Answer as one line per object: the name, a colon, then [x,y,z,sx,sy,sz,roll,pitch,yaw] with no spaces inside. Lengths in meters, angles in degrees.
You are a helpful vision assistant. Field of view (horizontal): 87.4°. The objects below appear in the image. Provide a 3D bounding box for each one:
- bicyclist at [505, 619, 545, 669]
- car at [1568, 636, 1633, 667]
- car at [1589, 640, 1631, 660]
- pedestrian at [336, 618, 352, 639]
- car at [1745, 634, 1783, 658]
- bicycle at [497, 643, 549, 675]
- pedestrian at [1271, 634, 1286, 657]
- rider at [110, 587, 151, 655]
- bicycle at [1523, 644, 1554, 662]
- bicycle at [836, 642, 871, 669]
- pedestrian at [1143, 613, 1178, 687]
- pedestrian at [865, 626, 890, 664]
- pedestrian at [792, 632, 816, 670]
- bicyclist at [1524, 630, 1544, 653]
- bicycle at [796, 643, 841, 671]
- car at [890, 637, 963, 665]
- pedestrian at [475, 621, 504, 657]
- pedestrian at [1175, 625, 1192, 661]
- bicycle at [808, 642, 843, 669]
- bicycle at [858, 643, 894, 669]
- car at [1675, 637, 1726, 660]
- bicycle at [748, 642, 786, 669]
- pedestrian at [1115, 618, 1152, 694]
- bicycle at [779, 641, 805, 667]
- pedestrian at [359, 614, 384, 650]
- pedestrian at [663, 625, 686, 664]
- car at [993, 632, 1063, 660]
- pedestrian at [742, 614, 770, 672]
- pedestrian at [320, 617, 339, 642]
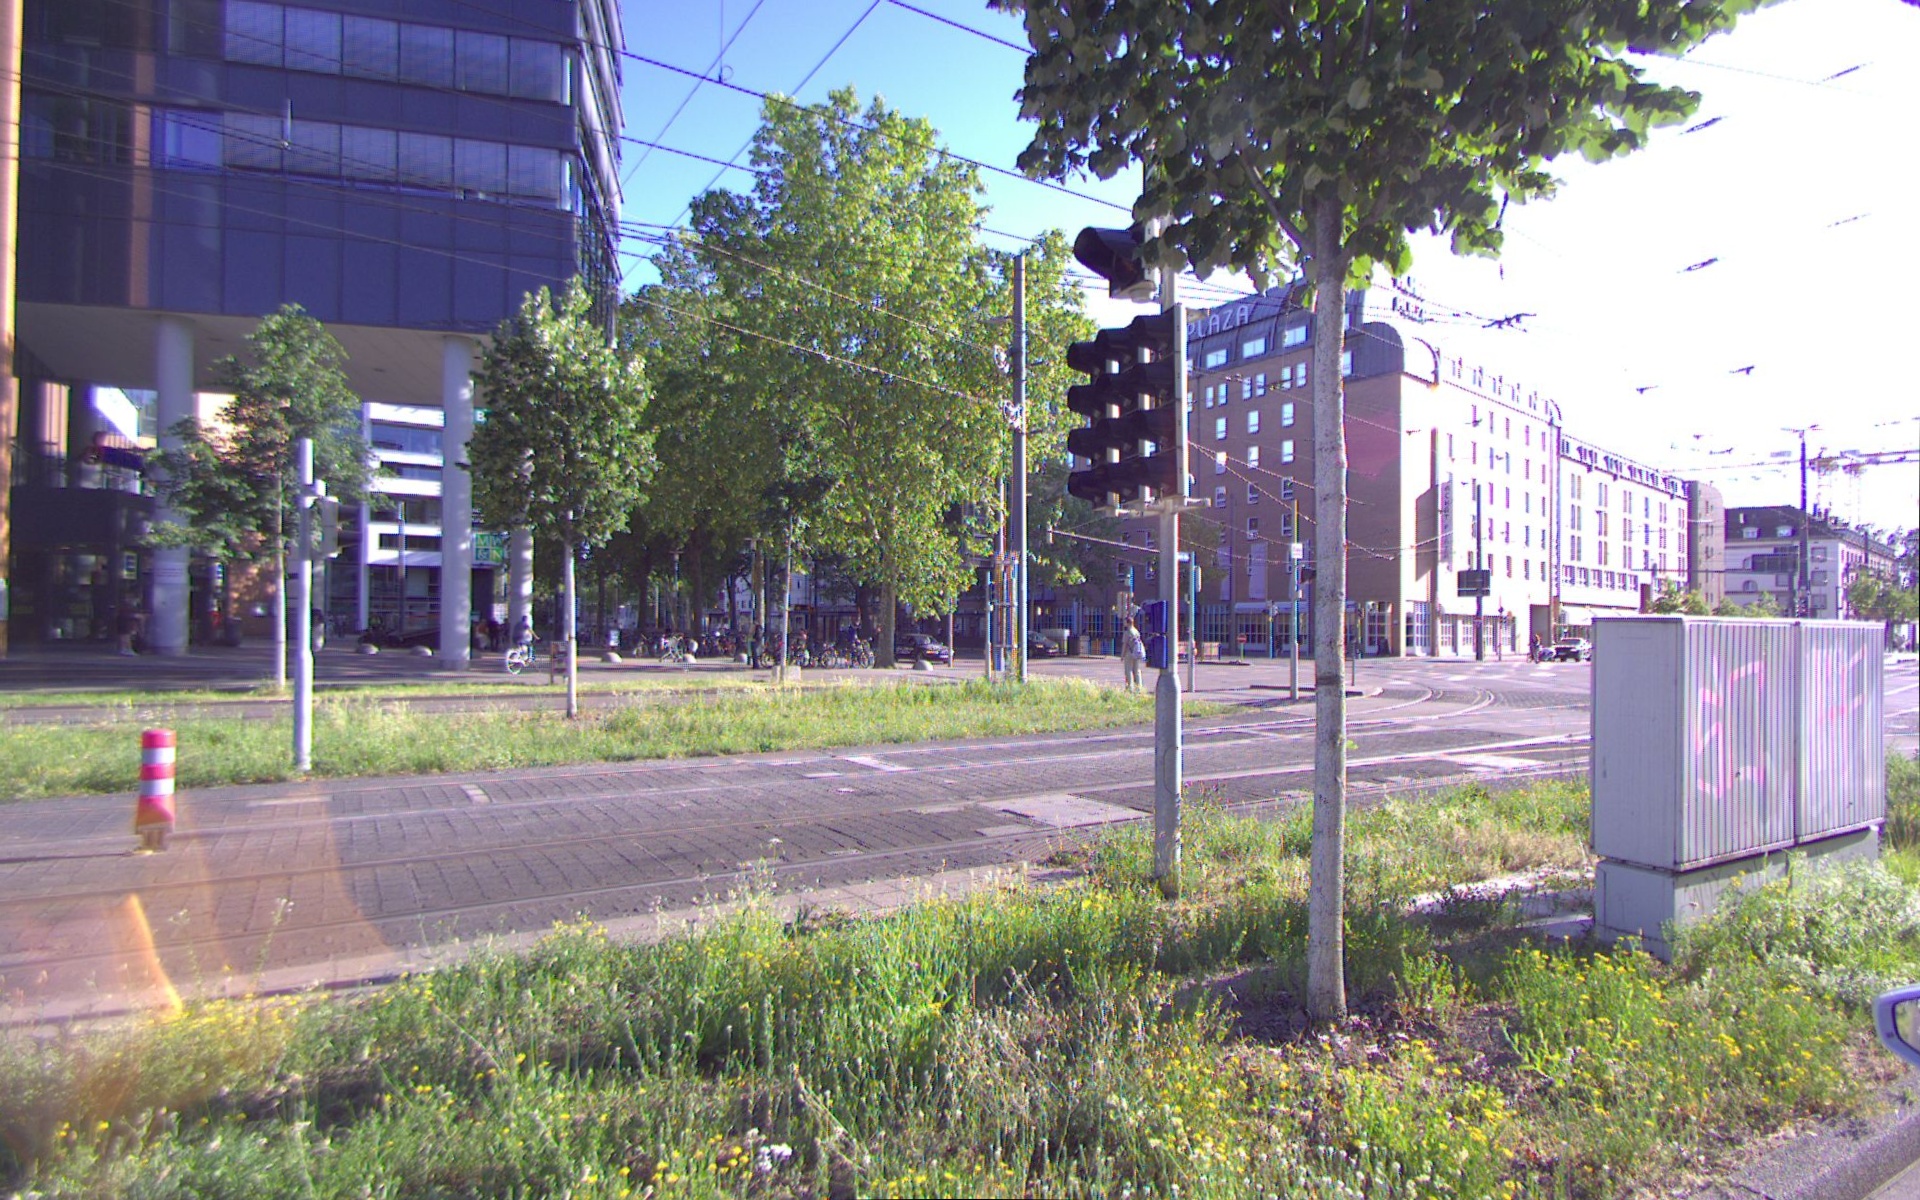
bicyclist: [-13.179,1.330,30.450,0.666,1.484,1.017,0,-1,8]
car: [35.660,2.836,55.900,4.705,1.617,1.975,2,-2,-43]
car: [50.865,3.891,78.592,3.972,1.530,1.867,2,-2,-43]
pedestrian: [-38.555,1.787,62.903,0.651,1.294,0.636,1,0,-13]
car: [53.709,3.039,67.040,1.726,1.524,3.859,-1,-2,43]
bicycle: [-13.166,1.764,30.324,0.489,0.922,1.890,1,-2,8]
pedestrian: [21.017,2.997,66.351,0.652,1.523,0.672,1,-1,-33]
rider: [-22.734,0.576,27.554,0.704,1.826,0.715,1,-1,-29]
bicycle: [35.619,3.252,61.863,2.901,1.099,0.645,2,-2,-38]
bicycle: [-4.097,2.124,38.611,0.536,0.964,1.753,1,-2,-36]
pedestrian: [5.069,1.259,25.412,0.656,1.841,0.559,1,-1,-36]
pedestrian: [-3.596,1.981,43.886,0.832,1.619,0.692,1,0,-34]
pedestrian: [-6.859,2.235,44.193,0.826,1.619,0.730,1,0,-25]
bicyclist: [35.169,2.517,61.528,0.942,1.393,0.752,1,-1,-37]
bicycle: [-5.242,2.103,37.194,1.742,0.964,0.540,0,-1,34]
car: [-1.685,2.486,49.581,1.977,1.283,3.968,1,-2,-30]
pedestrian: [-23.070,1.890,49.242,1.091,1.730,0.789,1,0,-13]
pedestrian: [12.900,2.475,58.041,0.670,2.040,0.663,1,-1,-29]
bicycle: [-5.164,2.113,38.538,0.536,0.964,1.753,1,-2,-36]
bicycle: [-3.261,2.146,38.739,0.536,0.964,1.753,1,-2,-36]
car: [49.536,3.228,67.149,3.960,1.468,1.563,2,-2,-35]
bicycle: [-7.272,2.083,37.786,0.538,0.964,1.748,2,-2,-44]
pedestrian: [4.285,1.368,24.847,0.656,1.854,0.627,1,-1,-36]
bicycle: [-6.454,2.061,38.691,0.530,0.964,1.772,1,-1,7]
pedestrian: [-28.402,1.534,48.515,0.794,1.730,0.789,1,0,-13]
pedestrian: [-12.238,1.906,42.992,0.826,1.667,0.730,1,-1,-25]
car: [3.699,2.507,55.449,1.743,1.439,3.960,1,-2,-35]
pedestrian: [-7.399,1.547,36.413,0.826,2.040,0.730,1,0,-25]
pedestrian: [-38.476,1.804,61.290,0.647,1.500,1.053,1,0,-13]
